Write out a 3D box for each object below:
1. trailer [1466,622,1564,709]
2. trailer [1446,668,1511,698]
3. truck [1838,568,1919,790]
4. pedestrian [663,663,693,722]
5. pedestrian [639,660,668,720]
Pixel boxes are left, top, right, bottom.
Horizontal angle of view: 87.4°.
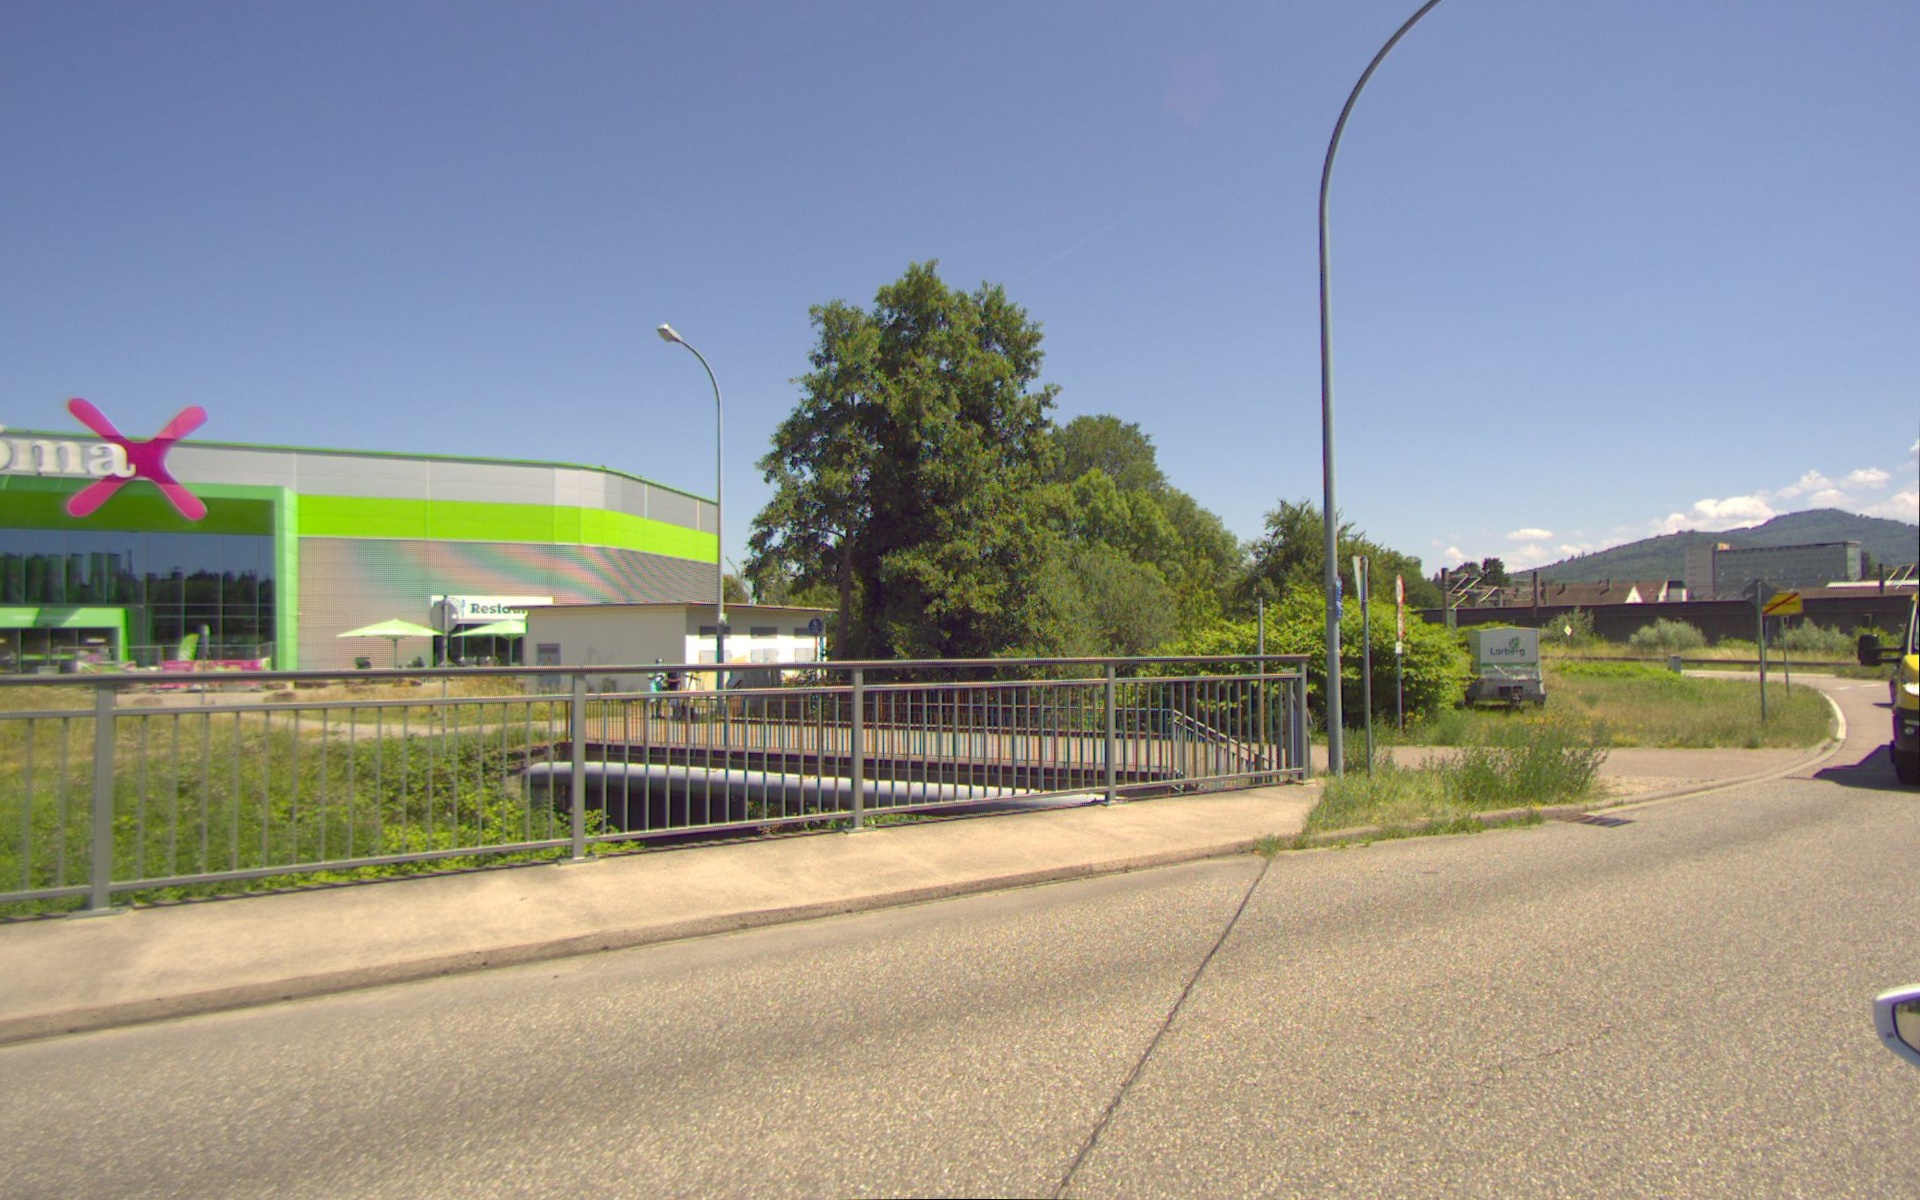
[{"bbox_3d":[14.278,1.625,26.036,1.821,2.040,3.958,0,-2,23],"label":"trailer"},{"bbox_3d":[15.942,2.535,30.985,1.535,0.748,2.851,0,-2,23],"label":"trailer"},{"bbox_3d":[13.987,0.984,13.282,8.981,2.367,2.292,3,-5,-41],"label":"truck"},{"bbox_3d":[-8.374,2.730,29.820,0.619,1.696,0.595,1,0,40],"label":"pedestrian"},{"bbox_3d":[-9.120,2.668,29.896,0.507,1.696,0.626,1,0,39],"label":"pedestrian"}]
